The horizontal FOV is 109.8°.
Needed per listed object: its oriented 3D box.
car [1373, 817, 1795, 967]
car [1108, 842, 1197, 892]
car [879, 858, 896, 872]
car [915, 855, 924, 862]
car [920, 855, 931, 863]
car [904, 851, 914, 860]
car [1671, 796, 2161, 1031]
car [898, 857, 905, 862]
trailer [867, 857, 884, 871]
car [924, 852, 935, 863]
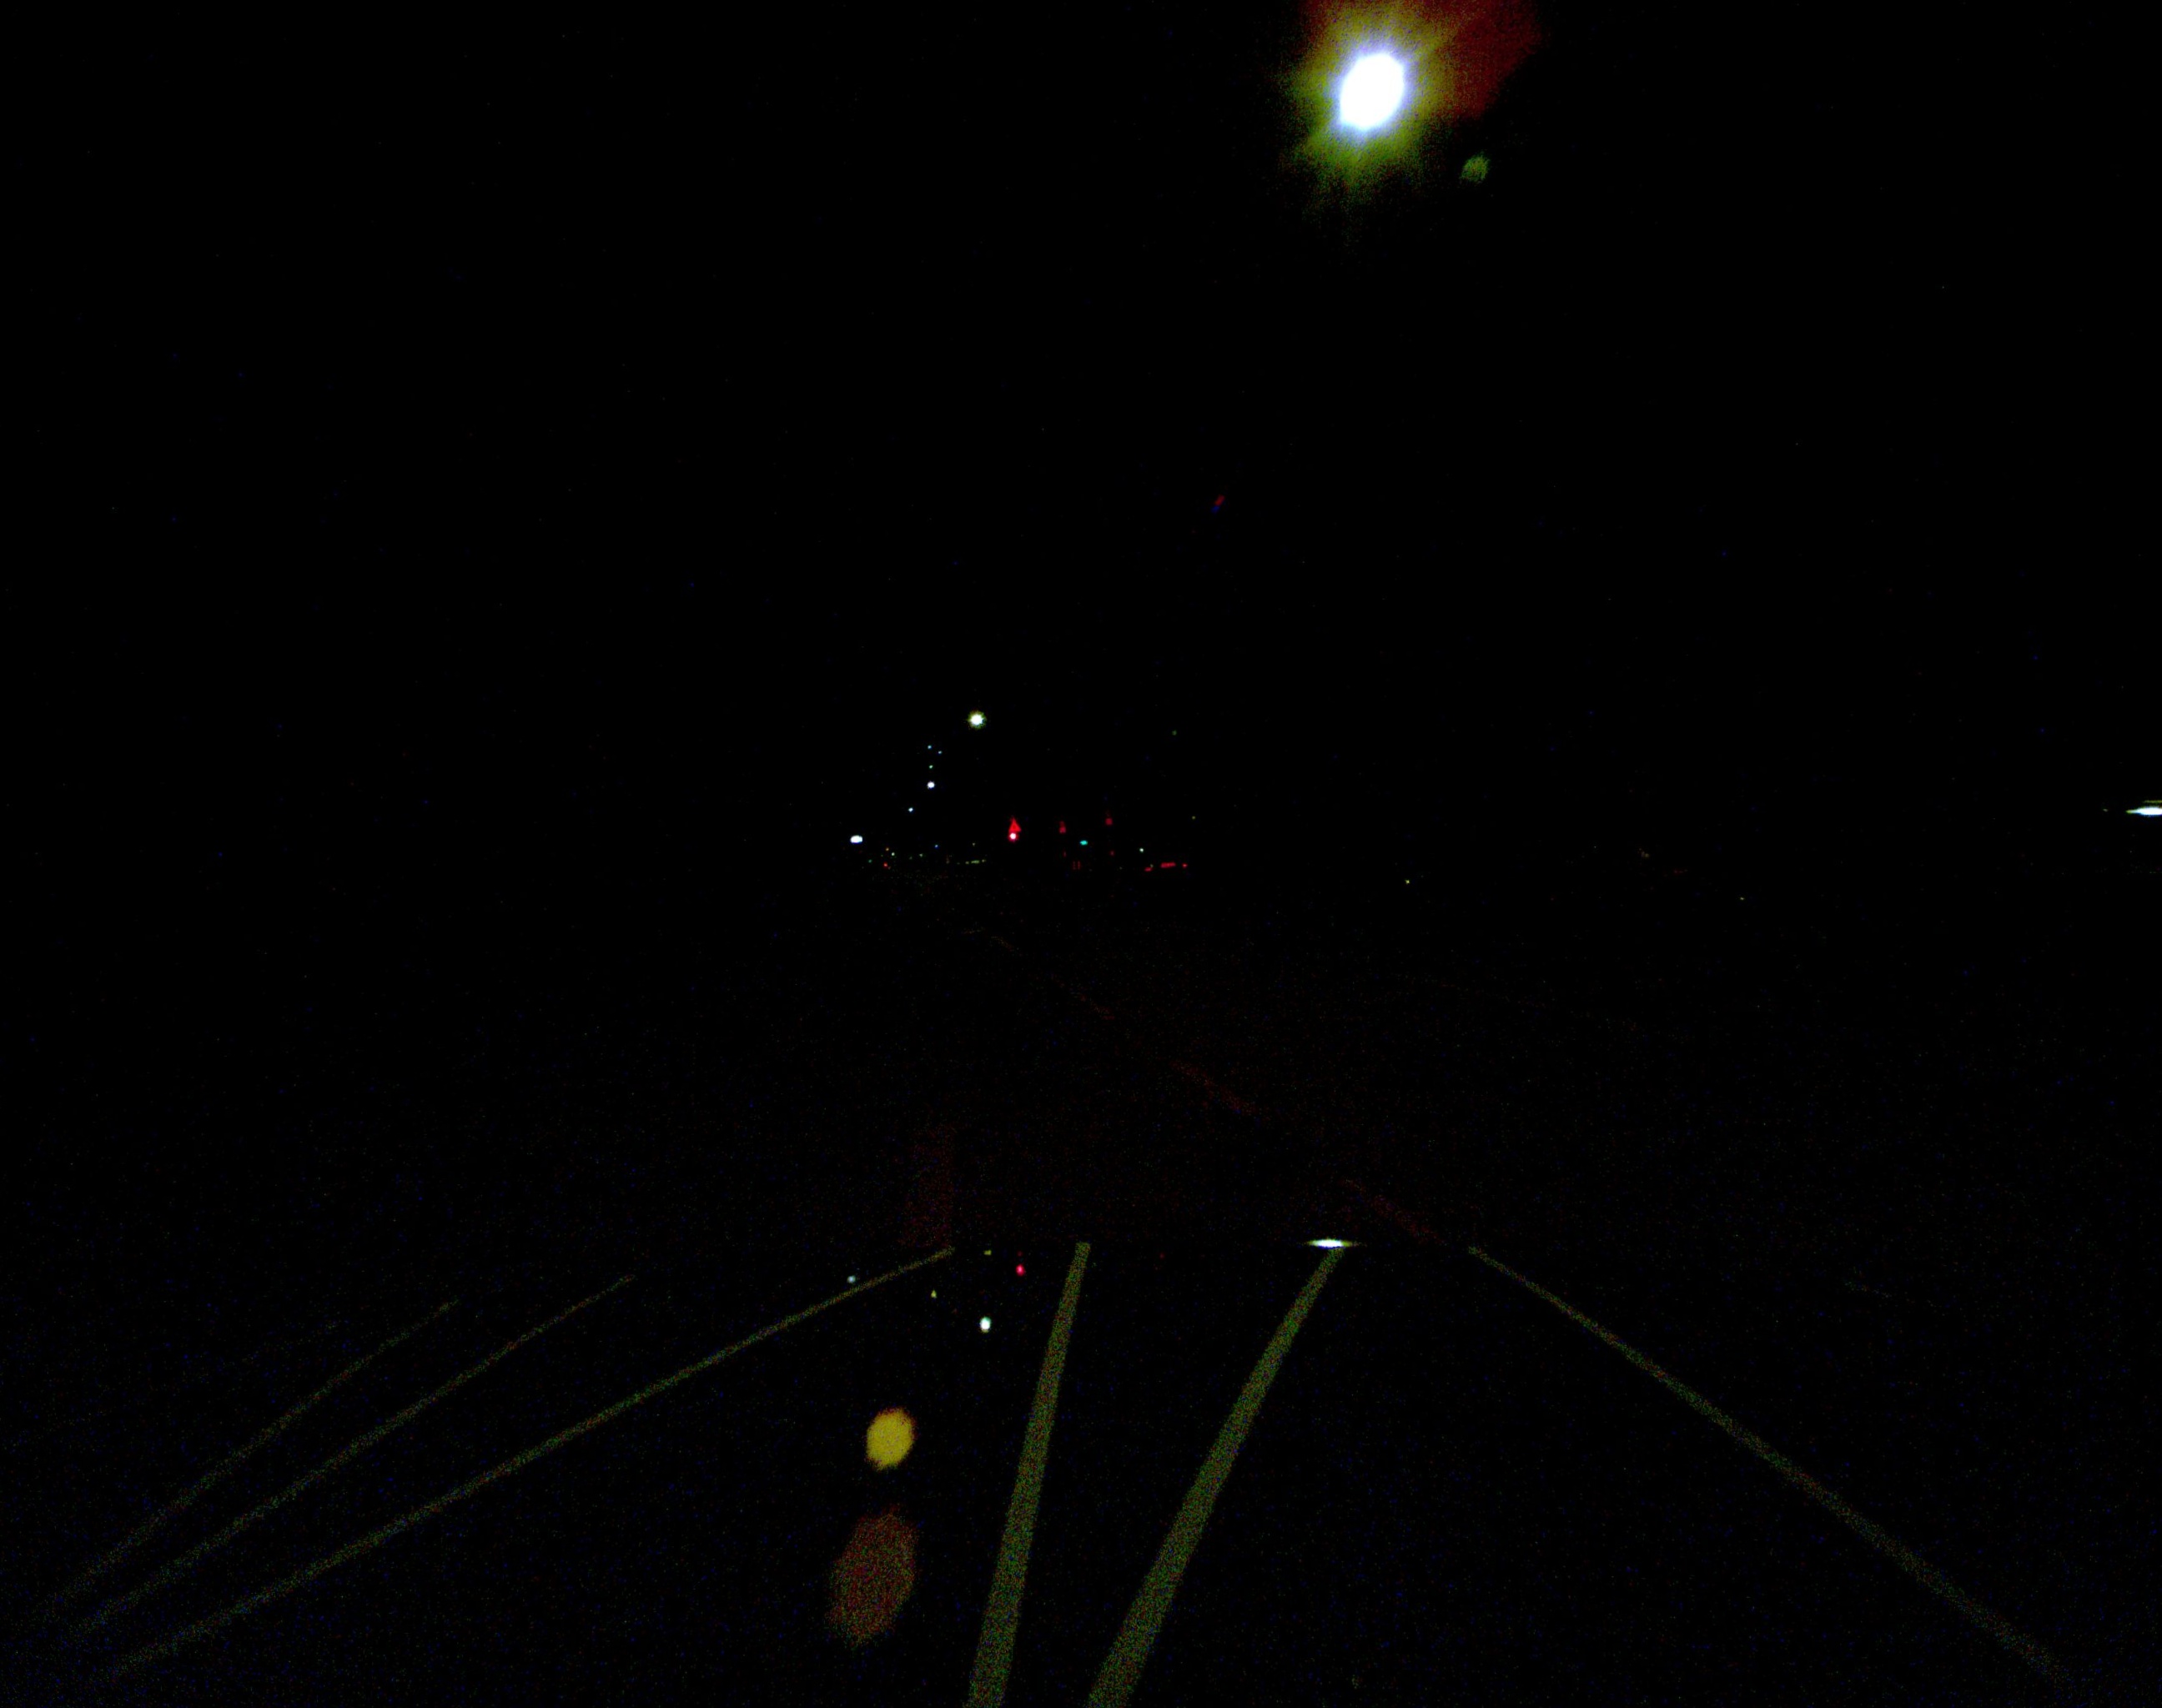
[{"bbox_3d":[6.311,0.386,10.376,1.775,1.477,4.761,-3,1,-16],"label":"car"},{"bbox_3d":[2.388,0.424,26.356,1.720,1.485,3.985,-5,1,-14],"label":"car"},{"bbox_3d":[-21.786,1.241,85.685,1.592,1.453,3.792,-5,1,-12],"label":"car"},{"bbox_3d":[-36.535,1.037,171.410,1.828,1.637,3.726,-3,1,-14],"label":"car"},{"bbox_3d":[-30.723,0.999,150.163,1.828,1.424,3.726,-7,1,-13],"label":"car"},{"bbox_3d":[-48.584,0.469,214.659,2.007,2.493,4.947,-7,2,-16],"label":"car"},{"bbox_3d":[7.525,0.340,5.644,1.774,1.477,4.857,-3,1,-15],"label":"car"},{"bbox_3d":[-56.998,1.618,240.829,1.828,1.424,3.726,-7,1,-16],"label":"car"},{"bbox_3d":[-25.476,1.238,94.191,1.606,1.486,3.730,-5,1,-11],"label":"trailer"},{"bbox_3d":[-28.822,0.706,144.499,1.884,1.799,3.726,-7,1,-13],"label":"car"}]
